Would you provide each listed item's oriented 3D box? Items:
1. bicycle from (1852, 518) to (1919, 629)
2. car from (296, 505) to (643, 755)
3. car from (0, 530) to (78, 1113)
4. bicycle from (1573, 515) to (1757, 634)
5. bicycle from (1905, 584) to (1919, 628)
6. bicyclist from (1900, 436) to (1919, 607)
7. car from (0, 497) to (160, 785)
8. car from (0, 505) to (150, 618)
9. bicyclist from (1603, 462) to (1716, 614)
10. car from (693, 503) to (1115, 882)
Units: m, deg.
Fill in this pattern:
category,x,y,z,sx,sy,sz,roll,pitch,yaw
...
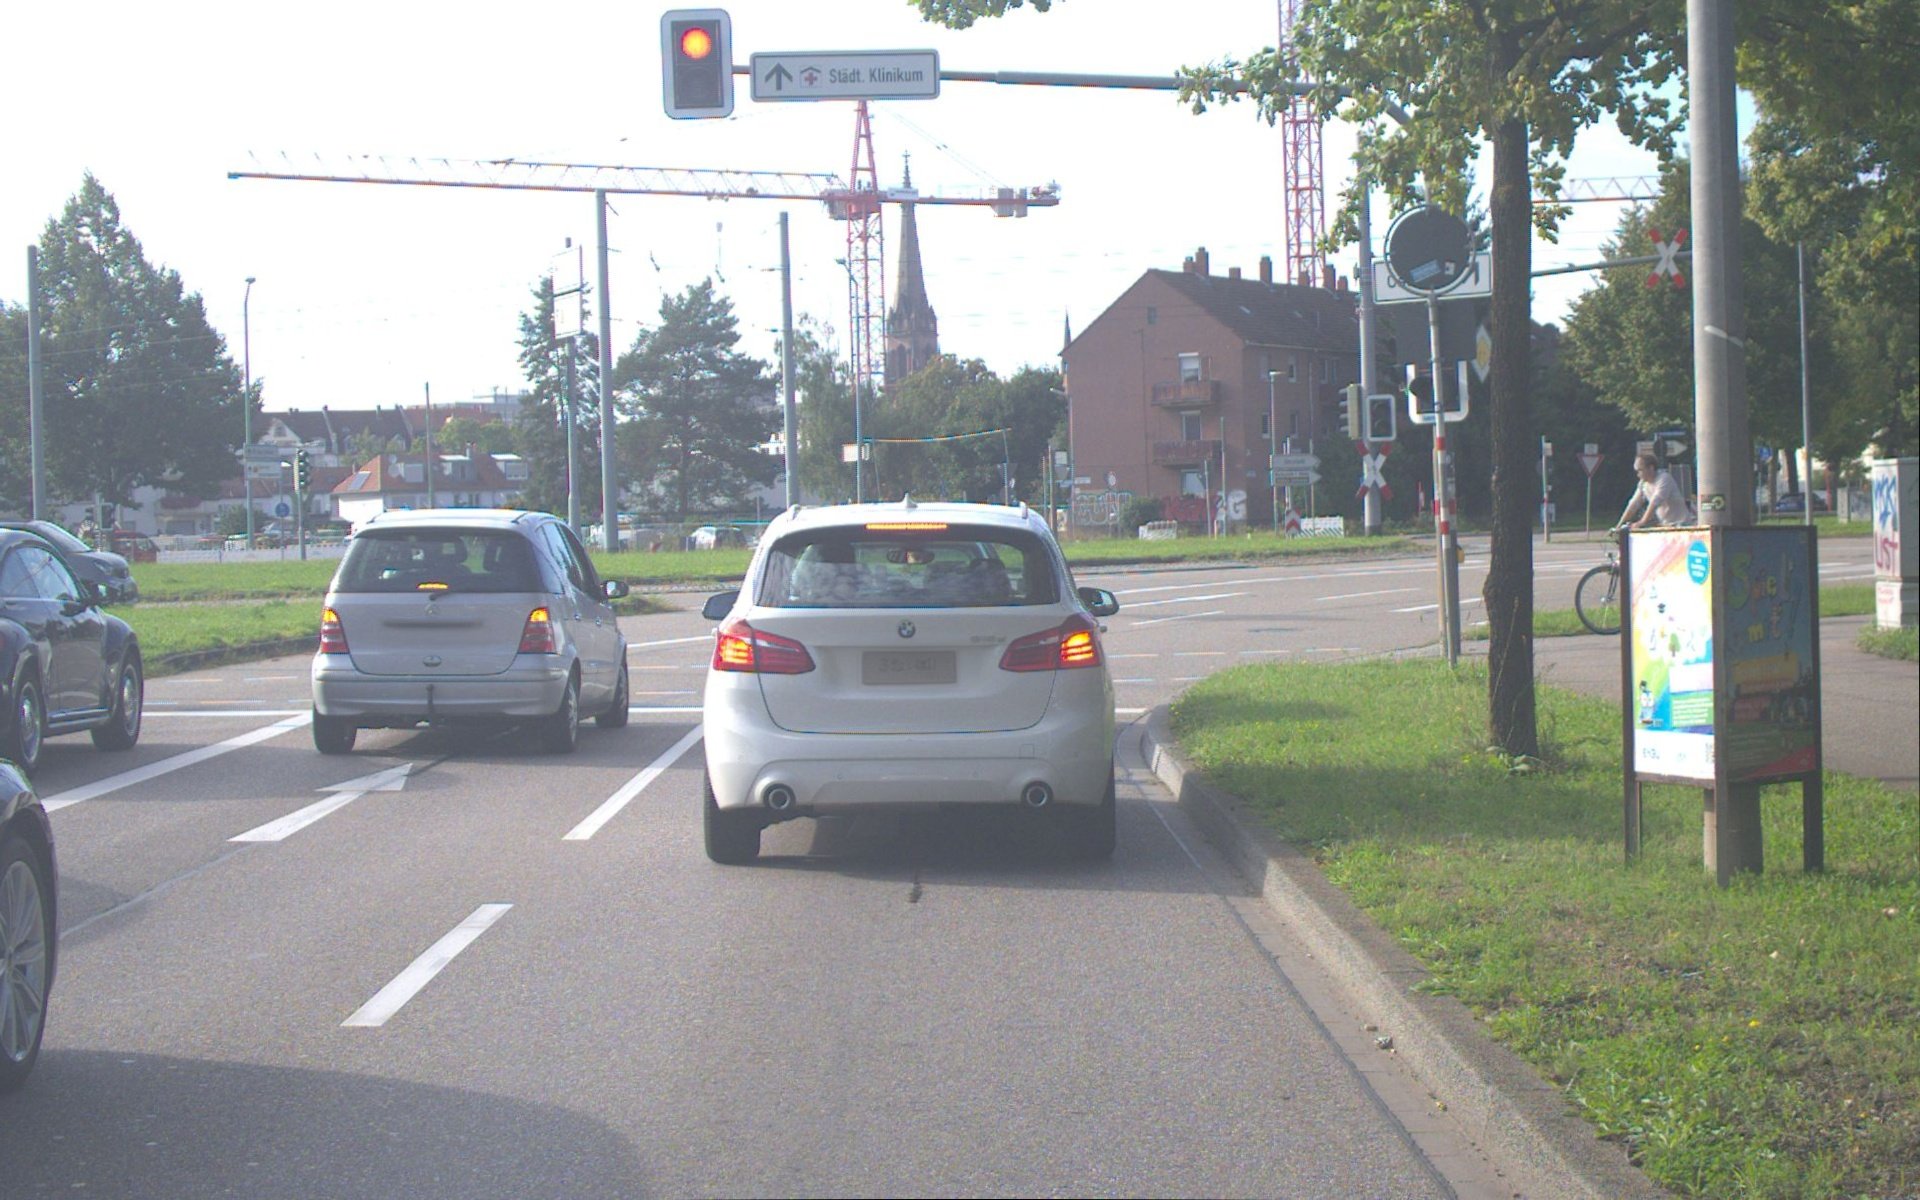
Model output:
category,x,y,z,sx,sy,sz,roll,pitch,yaw
bicycle,9.561,-0.274,33.023,1.770,1.046,0.711,-1,1,-12
car,-3.227,0.133,23.332,1.729,1.553,4.058,0,1,1
car,-3.357,0.591,7.194,1.890,1.478,4.613,0,1,-1
bicycle,7.232,-0.268,35.264,1.724,1.159,0.656,-2,1,-16
bicycle,9.364,0.053,29.490,1.407,0.384,2.577,-2,1,-12
bicyclist,9.589,-0.760,33.017,0.829,1.642,0.686,-1,1,-12
car,-6.138,0.169,20.777,1.721,1.559,3.878,0,2,0
car,-13.775,-0.561,50.973,3.187,1.568,1.575,-2,3,-6
bicyclist,7.158,-0.634,35.221,0.848,1.521,0.741,-2,1,-17
car,-0.255,0.327,16.148,1.729,1.553,4.058,0,1,-1
